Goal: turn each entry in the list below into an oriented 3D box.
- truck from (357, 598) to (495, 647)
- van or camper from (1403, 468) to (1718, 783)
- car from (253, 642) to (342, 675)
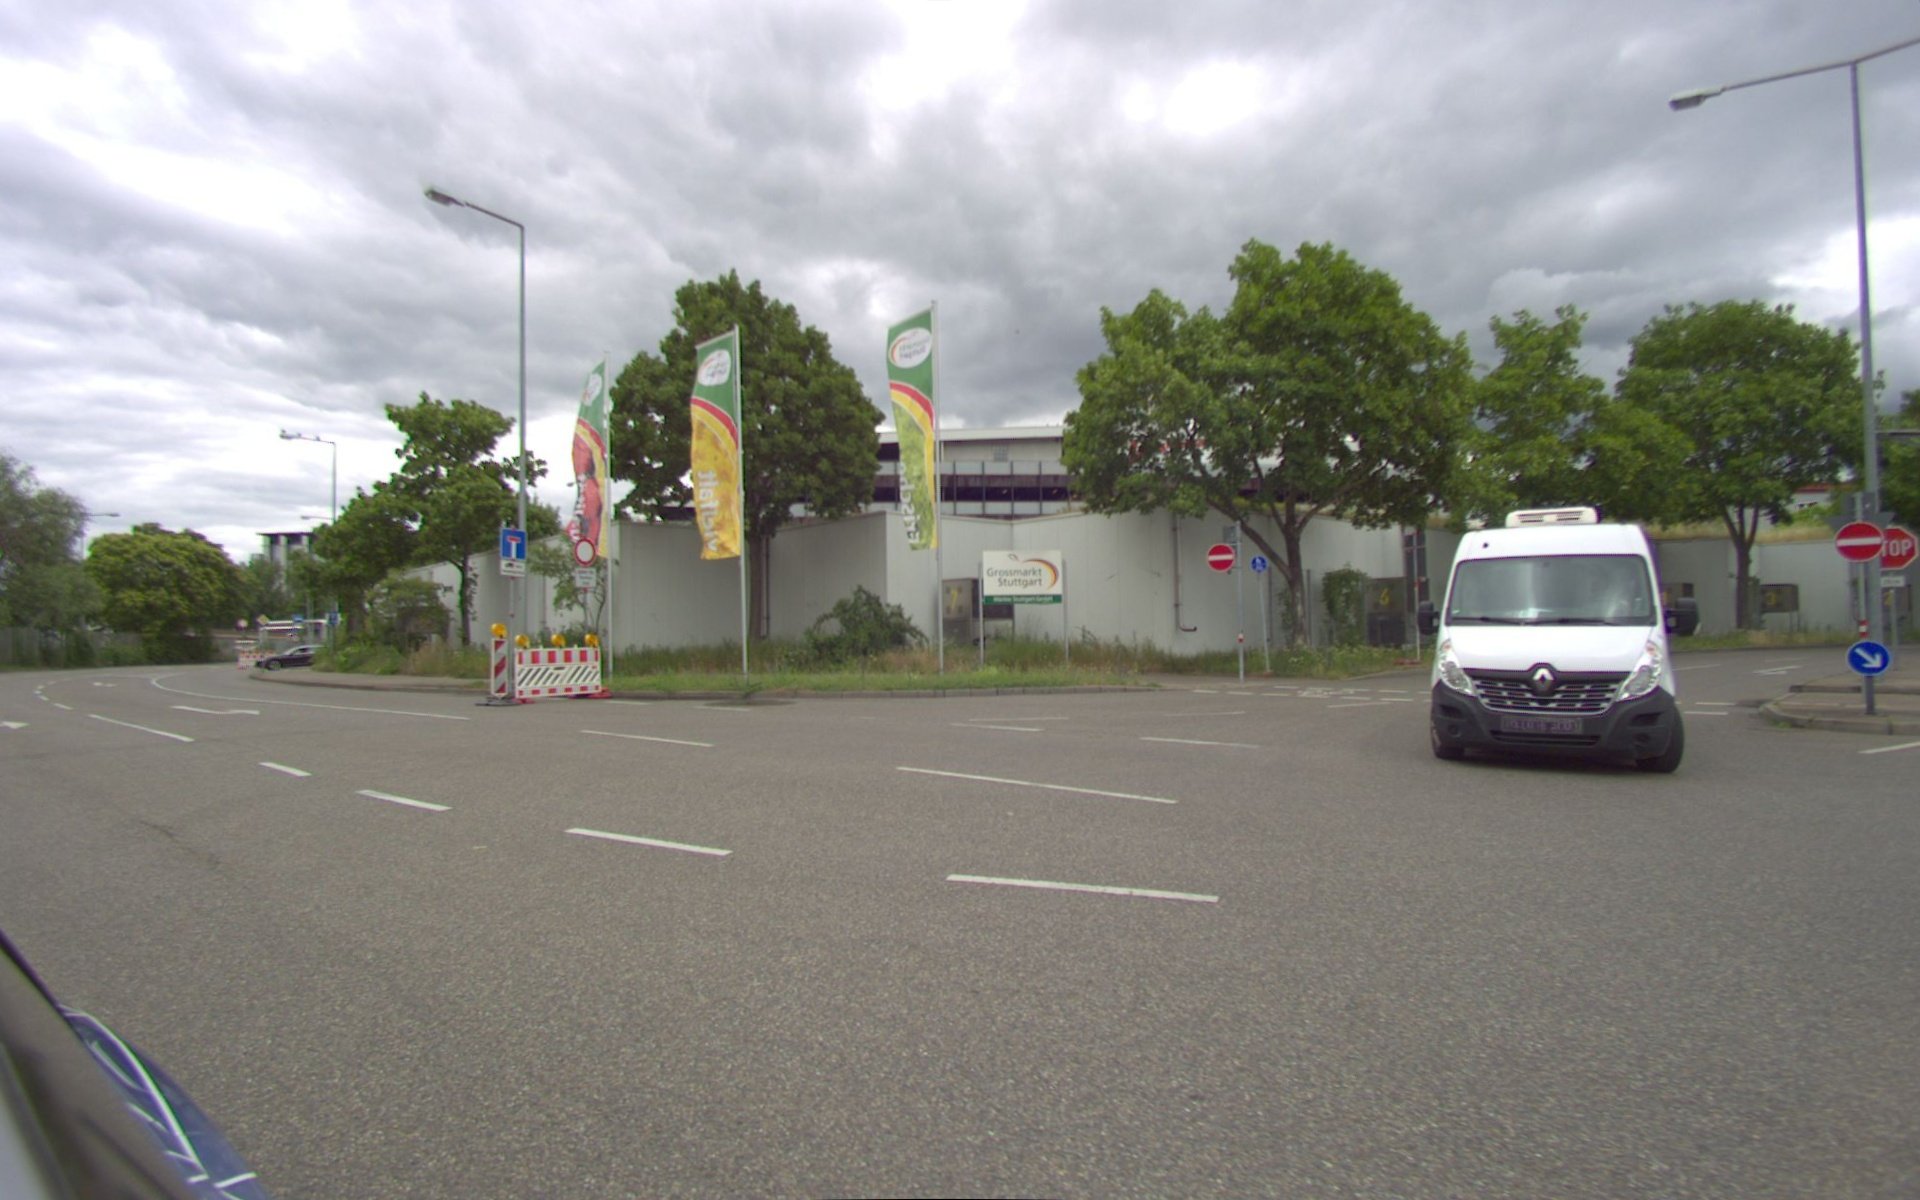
[{"bbox_3d":[-41.388,1.760,78.641,9.125,3.623,2.939,1,-3,-35],"label":"truck"},{"bbox_3d":[6.806,0.254,11.438,2.266,2.576,6.040,-3,-2,33],"label":"van or camper"},{"bbox_3d":[-41.287,3.619,63.085,4.547,1.823,2.004,-1,-2,-37],"label":"car"}]
